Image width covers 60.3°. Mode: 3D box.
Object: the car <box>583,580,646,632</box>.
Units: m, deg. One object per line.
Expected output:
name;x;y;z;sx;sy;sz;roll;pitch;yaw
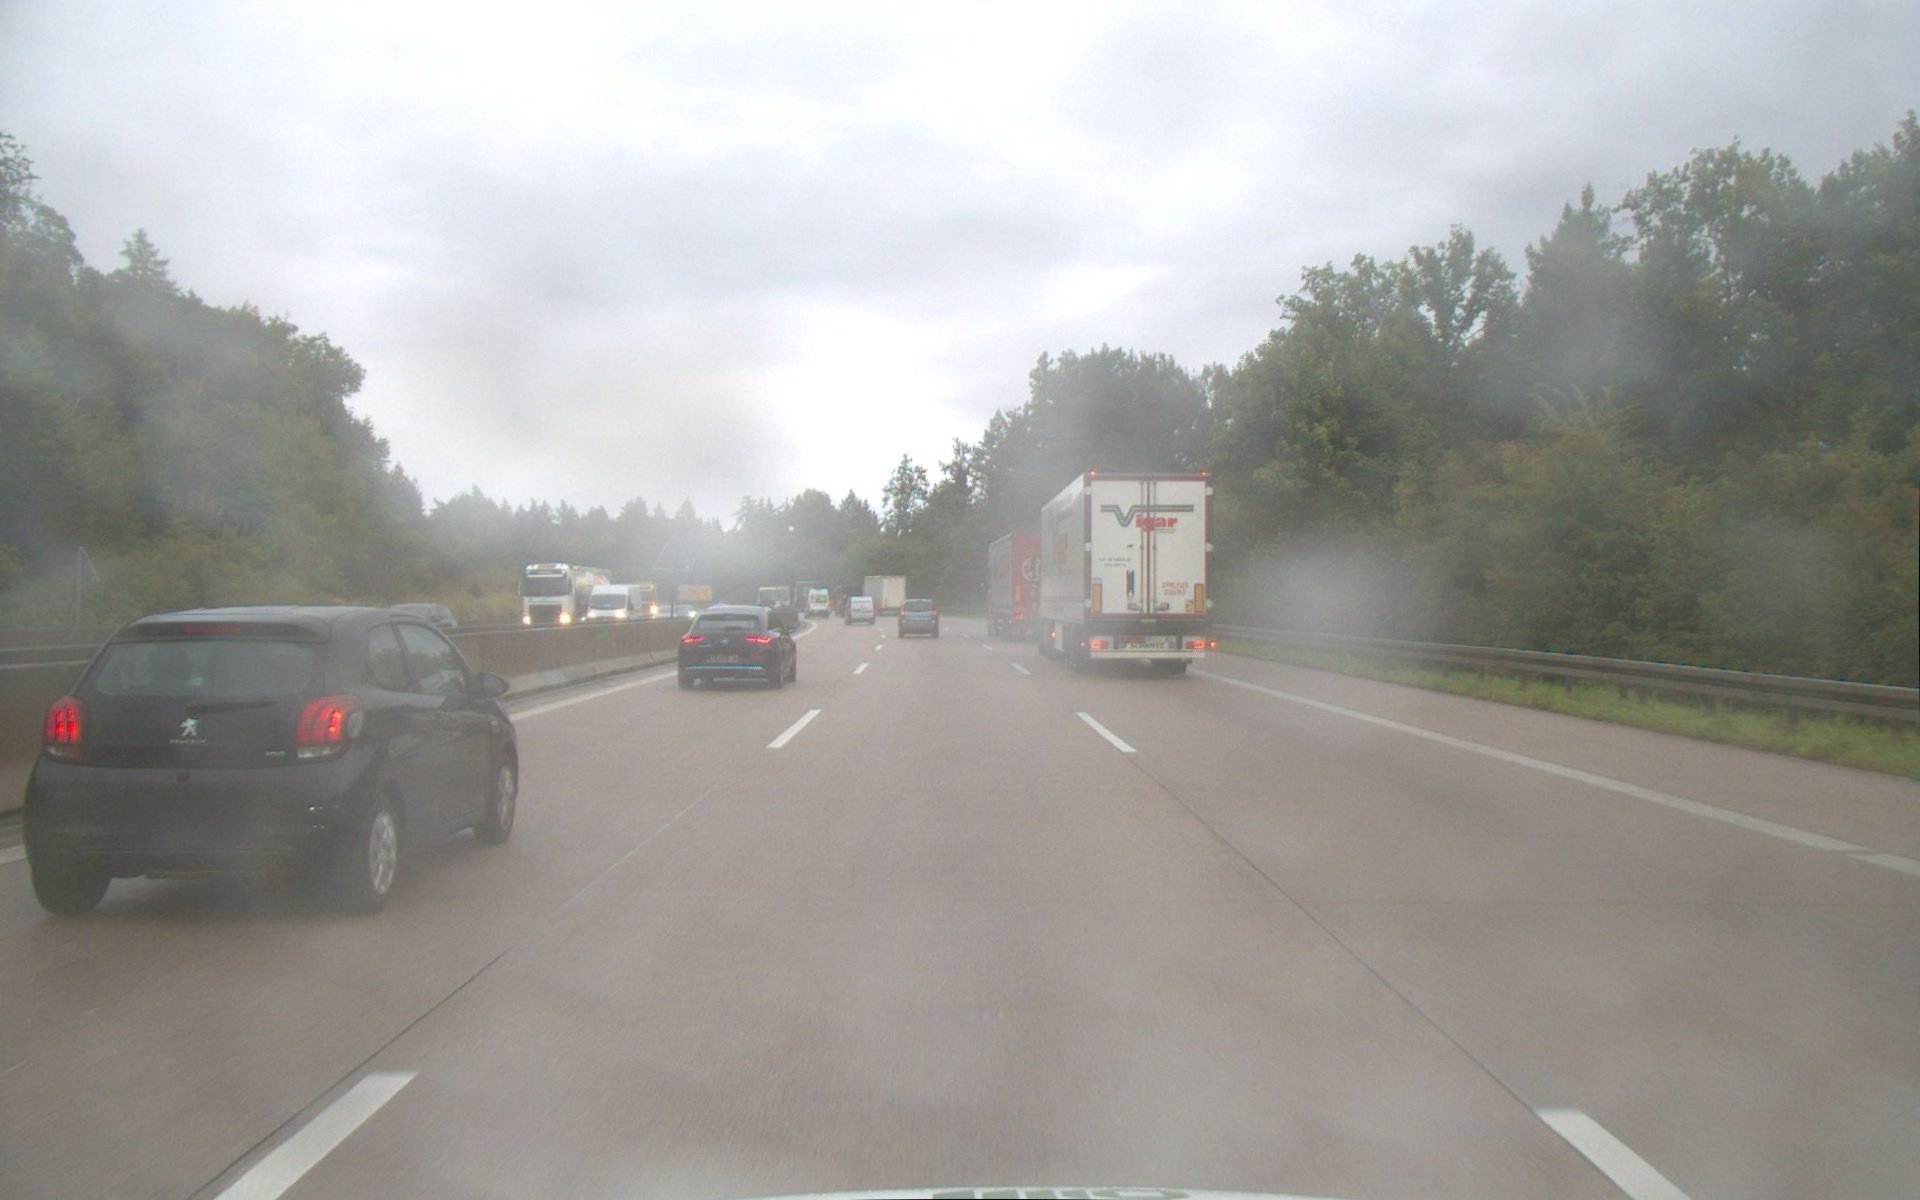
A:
car;-17.334;0.296;83.396;1.953;2.492;6.743;0;0;-2

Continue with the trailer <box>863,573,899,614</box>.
trailer;-8.306;-0.721;172.623;2.375;4.139;12.027;0;1;-10

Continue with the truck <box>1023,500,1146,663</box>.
truck;3.346;-0.485;45.809;2.742;4.175;5.965;-1;0;-2

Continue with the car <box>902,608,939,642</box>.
car;-1.684;1.060;71.239;1.522;1.375;3.682;1;0;-1

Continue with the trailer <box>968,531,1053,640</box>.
trailer;1.900;-0.529;67.789;2.323;4.023;12.512;1;0;-3

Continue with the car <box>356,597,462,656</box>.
car;-15.755;0.729;47.510;1.575;1.581;4.641;0;0;-1

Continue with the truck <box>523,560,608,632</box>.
truck;-21.591;-0.225;91.021;2.512;3.731;10.487;0;0;-2

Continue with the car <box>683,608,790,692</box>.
car;-3.988;0.861;29.946;1.522;1.375;3.682;1;0;-2

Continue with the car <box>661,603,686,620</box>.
car;-24.956;1.002;144.201;1.767;1.357;4.560;1;0;-5

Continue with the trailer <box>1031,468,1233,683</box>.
trailer;3.657;-0.496;39.116;2.680;4.175;13.674;-1;0;-3

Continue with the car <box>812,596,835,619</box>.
car;-13.069;0.708;158.069;1.955;2.095;3.994;-1;0;-7

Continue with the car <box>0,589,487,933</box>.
car;-3.761;0.713;9.092;1.652;1.488;3.677;1;0;-7

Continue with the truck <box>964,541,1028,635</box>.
truck;1.554;-0.523;74.473;2.328;4.023;6.156;1;0;-3

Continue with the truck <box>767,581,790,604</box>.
truck;-25.181;-1.034;229.478;3.023;2.956;7.893;0;1;-6

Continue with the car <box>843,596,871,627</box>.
car;-6.926;0.763;110.965;1.692;2.049;3.651;-1;0;-7

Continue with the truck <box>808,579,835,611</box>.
truck;-18.746;-0.760;223.594;3.305;4.203;10.421;0;1;-7
